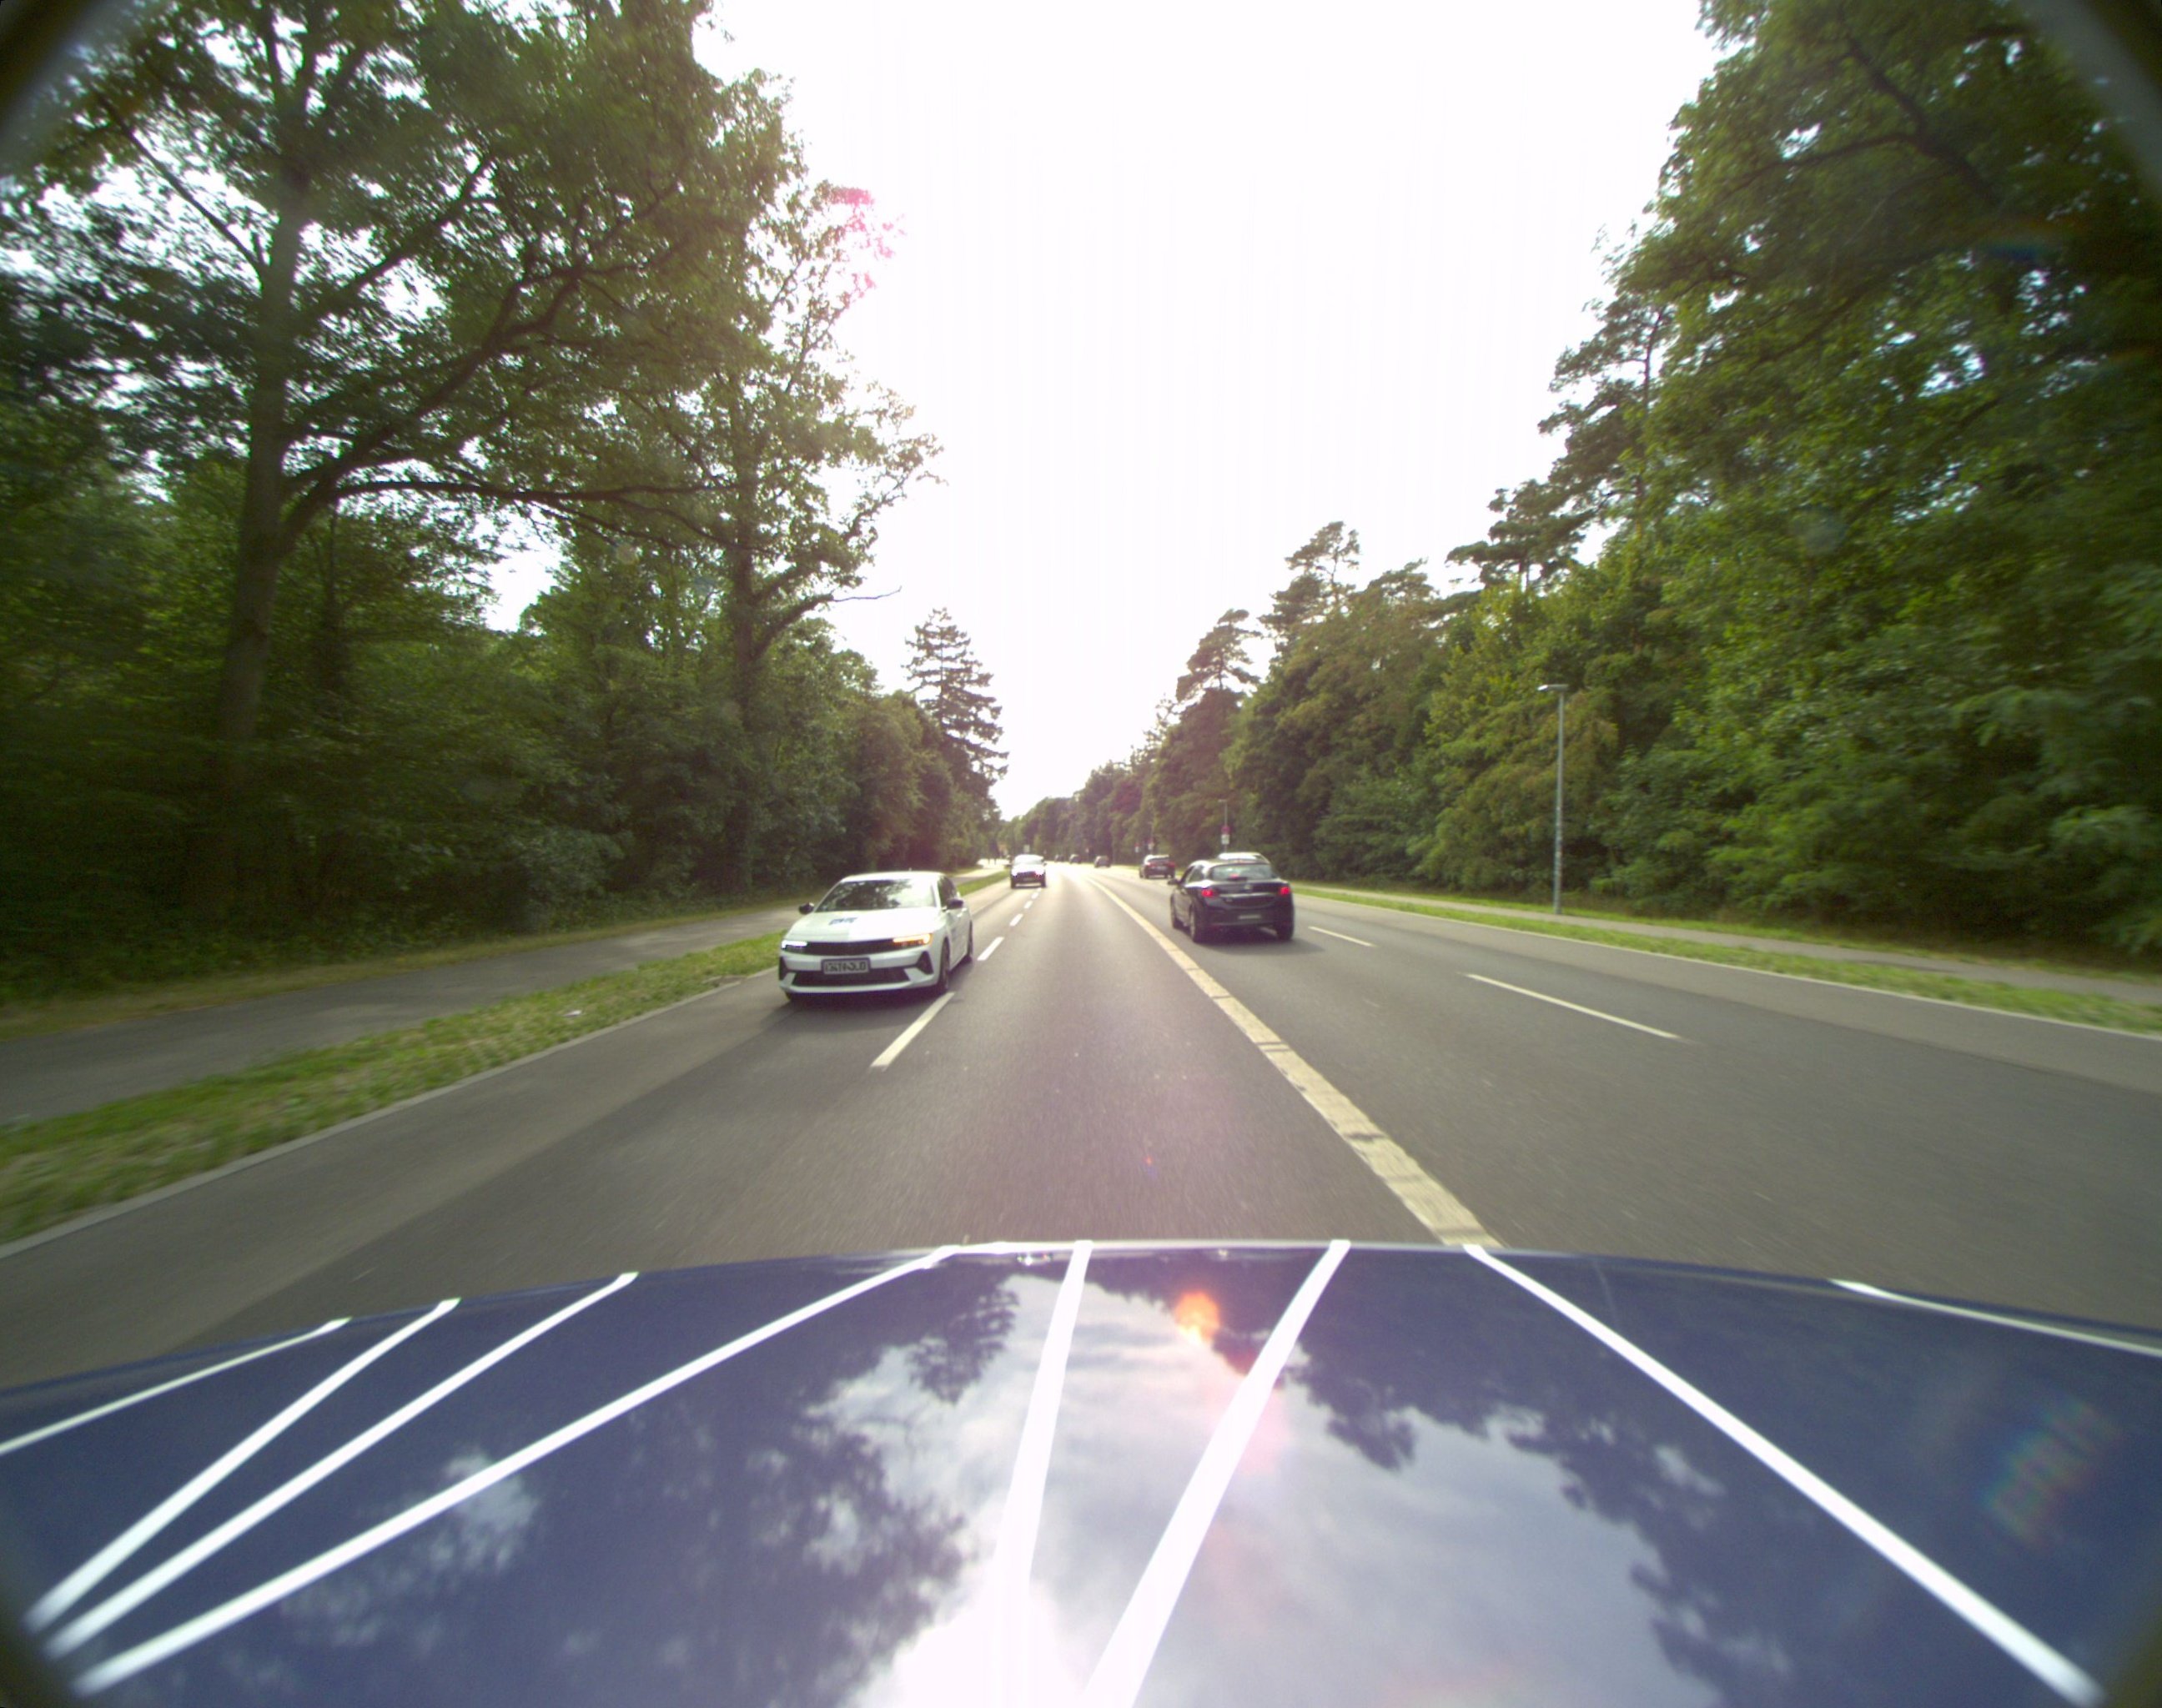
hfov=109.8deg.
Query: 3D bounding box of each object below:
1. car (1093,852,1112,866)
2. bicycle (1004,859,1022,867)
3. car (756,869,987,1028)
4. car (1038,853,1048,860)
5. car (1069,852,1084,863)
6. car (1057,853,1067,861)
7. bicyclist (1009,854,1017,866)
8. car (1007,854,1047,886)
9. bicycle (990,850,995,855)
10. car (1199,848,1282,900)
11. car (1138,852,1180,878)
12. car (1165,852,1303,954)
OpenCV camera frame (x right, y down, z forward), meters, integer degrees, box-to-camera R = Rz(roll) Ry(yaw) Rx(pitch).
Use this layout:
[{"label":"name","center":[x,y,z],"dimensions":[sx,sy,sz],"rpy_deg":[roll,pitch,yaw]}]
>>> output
[{"label":"car","center":[2.652,0.628,95.538],"dimensions":[1.902,1.475,4.535],"rpy_deg":[-3,2,-4]},{"label":"bicycle","center":[-8.525,1.158,95.399],"dimensions":[2.180,0.988,0.711],"rpy_deg":[-1,0,-4]},{"label":"car","center":[-2.419,1.012,10.025],"dimensions":[1.841,1.402,4.489],"rpy_deg":[-3,1,-2]},{"label":"car","center":[-8.872,0.521,177.568],"dimensions":[2.000,1.427,4.717],"rpy_deg":[-2,1,-7]},{"label":"car","center":[-0.850,0.635,138.265],"dimensions":[2.000,1.607,4.660],"rpy_deg":[-6,1,-7]},{"label":"car","center":[-4.170,0.600,165.672],"dimensions":[1.928,1.646,4.467],"rpy_deg":[-2,1,-3]},{"label":"bicyclist","center":[-8.572,0.718,95.430],"dimensions":[0.901,1.462,0.711],"rpy_deg":[-1,1,-4]},{"label":"car","center":[-2.829,0.814,40.529],"dimensions":[1.999,1.565,3.999],"rpy_deg":[0,0,-3]},{"label":"bicycle","center":[-18.089,-0.359,155.444],"dimensions":[0.568,0.906,1.885],"rpy_deg":[2,-2,-16]},{"label":"car","center":[5.673,0.649,27.605],"dimensions":[1.998,1.554,4.603],"rpy_deg":[-3,1,0]},{"label":"car","center":[4.861,0.661,47.958],"dimensions":[1.886,1.434,4.401],"rpy_deg":[-3,1,-3]},{"label":"car","center":[2.645,0.766,13.977],"dimensions":[1.660,1.477,3.865],"rpy_deg":[-3,1,0]}]
